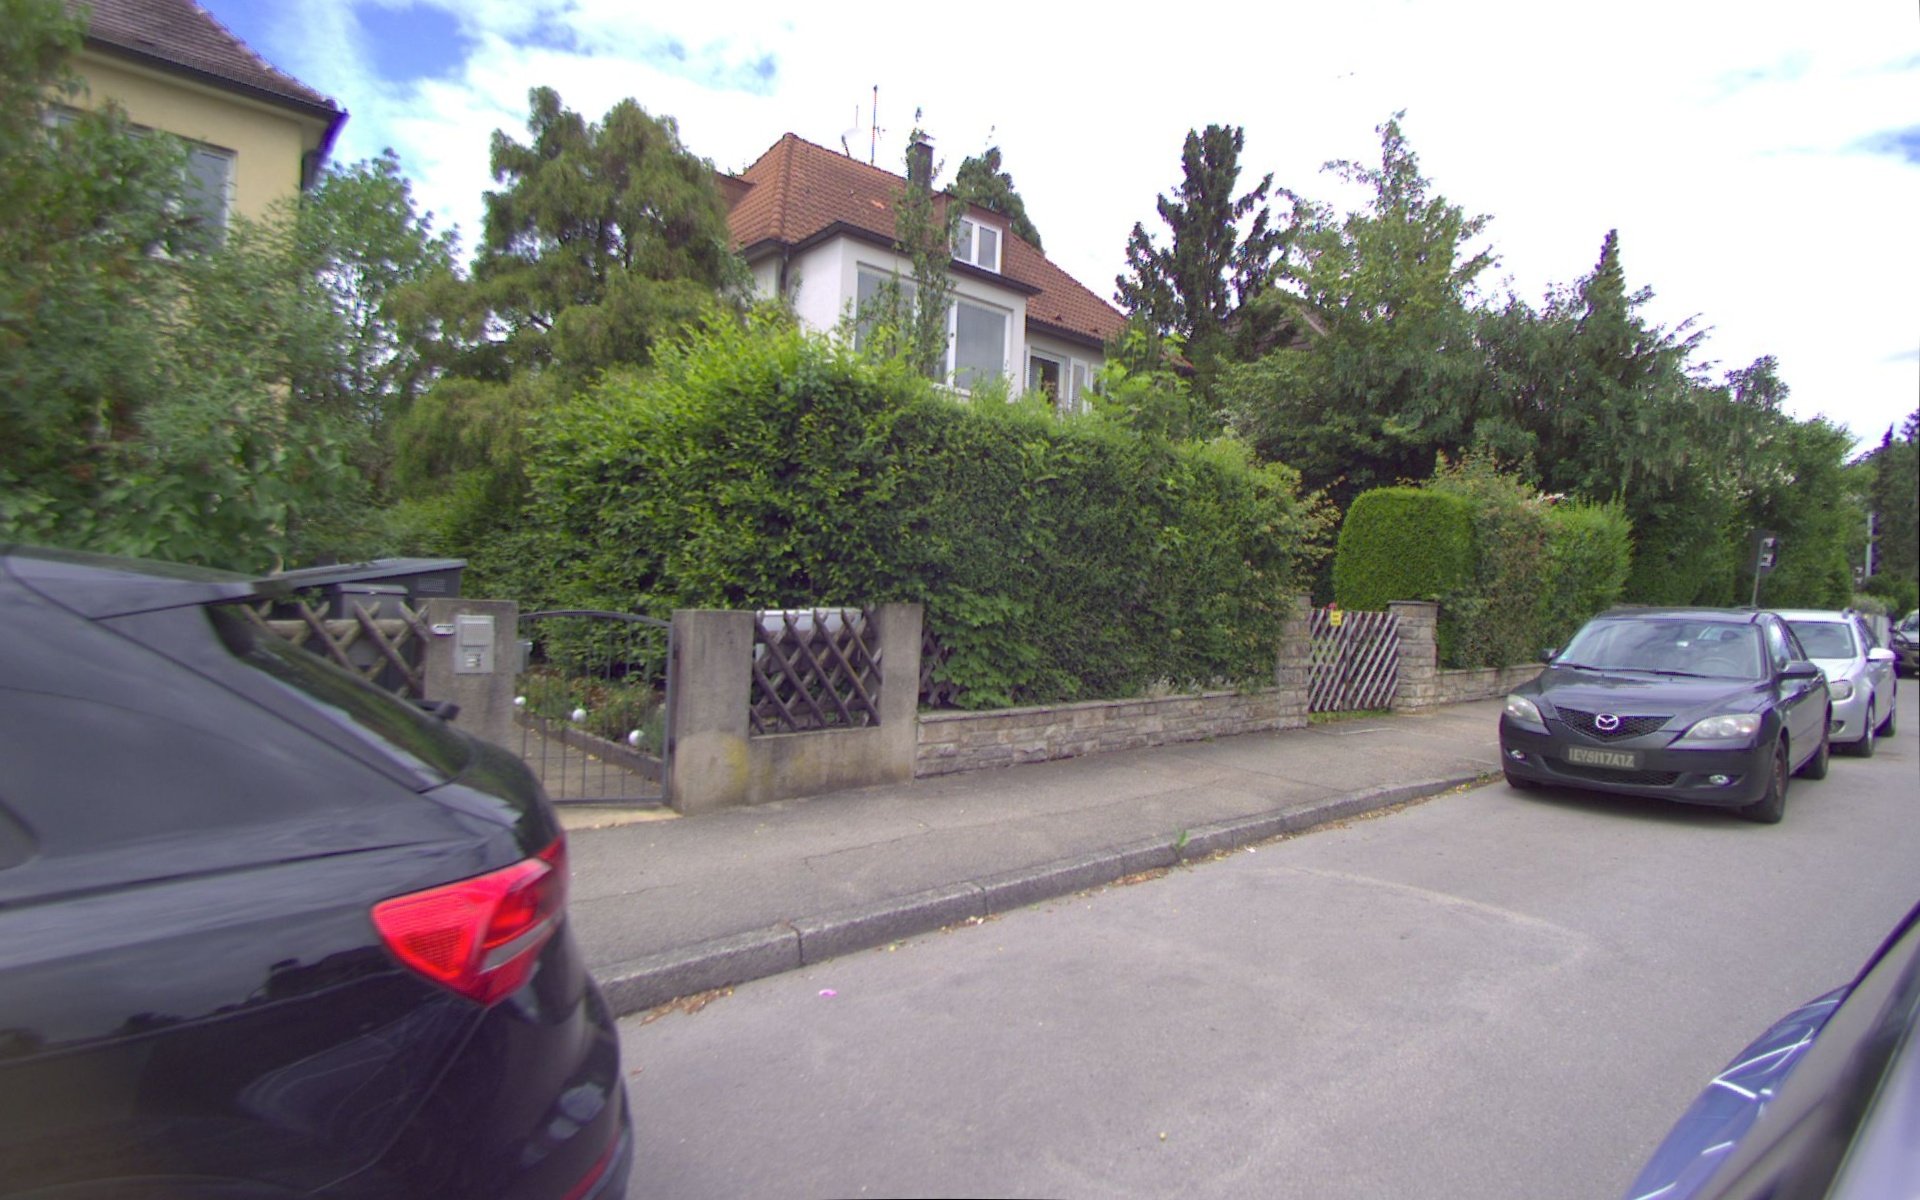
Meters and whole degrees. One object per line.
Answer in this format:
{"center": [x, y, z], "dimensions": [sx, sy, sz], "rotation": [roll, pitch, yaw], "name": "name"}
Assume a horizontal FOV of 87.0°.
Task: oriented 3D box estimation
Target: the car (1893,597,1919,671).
{"center": [23.486, 0.811, 23.792], "dimensions": [4.054, 1.653, 1.876], "rotation": [1, 0, -42], "name": "car"}

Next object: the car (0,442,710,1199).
{"center": [-2.500, 0.635, 0.877], "dimensions": [4.067, 1.612, 1.805], "rotation": [0, 1, -40], "name": "car"}

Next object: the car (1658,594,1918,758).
{"center": [9.608, 0.719, 11.613], "dimensions": [4.284, 1.495, 1.758], "rotation": [0, 1, -43], "name": "car"}

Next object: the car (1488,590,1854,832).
{"center": [6.003, 0.695, 8.343], "dimensions": [4.072, 1.478, 1.718], "rotation": [0, 1, -44], "name": "car"}
